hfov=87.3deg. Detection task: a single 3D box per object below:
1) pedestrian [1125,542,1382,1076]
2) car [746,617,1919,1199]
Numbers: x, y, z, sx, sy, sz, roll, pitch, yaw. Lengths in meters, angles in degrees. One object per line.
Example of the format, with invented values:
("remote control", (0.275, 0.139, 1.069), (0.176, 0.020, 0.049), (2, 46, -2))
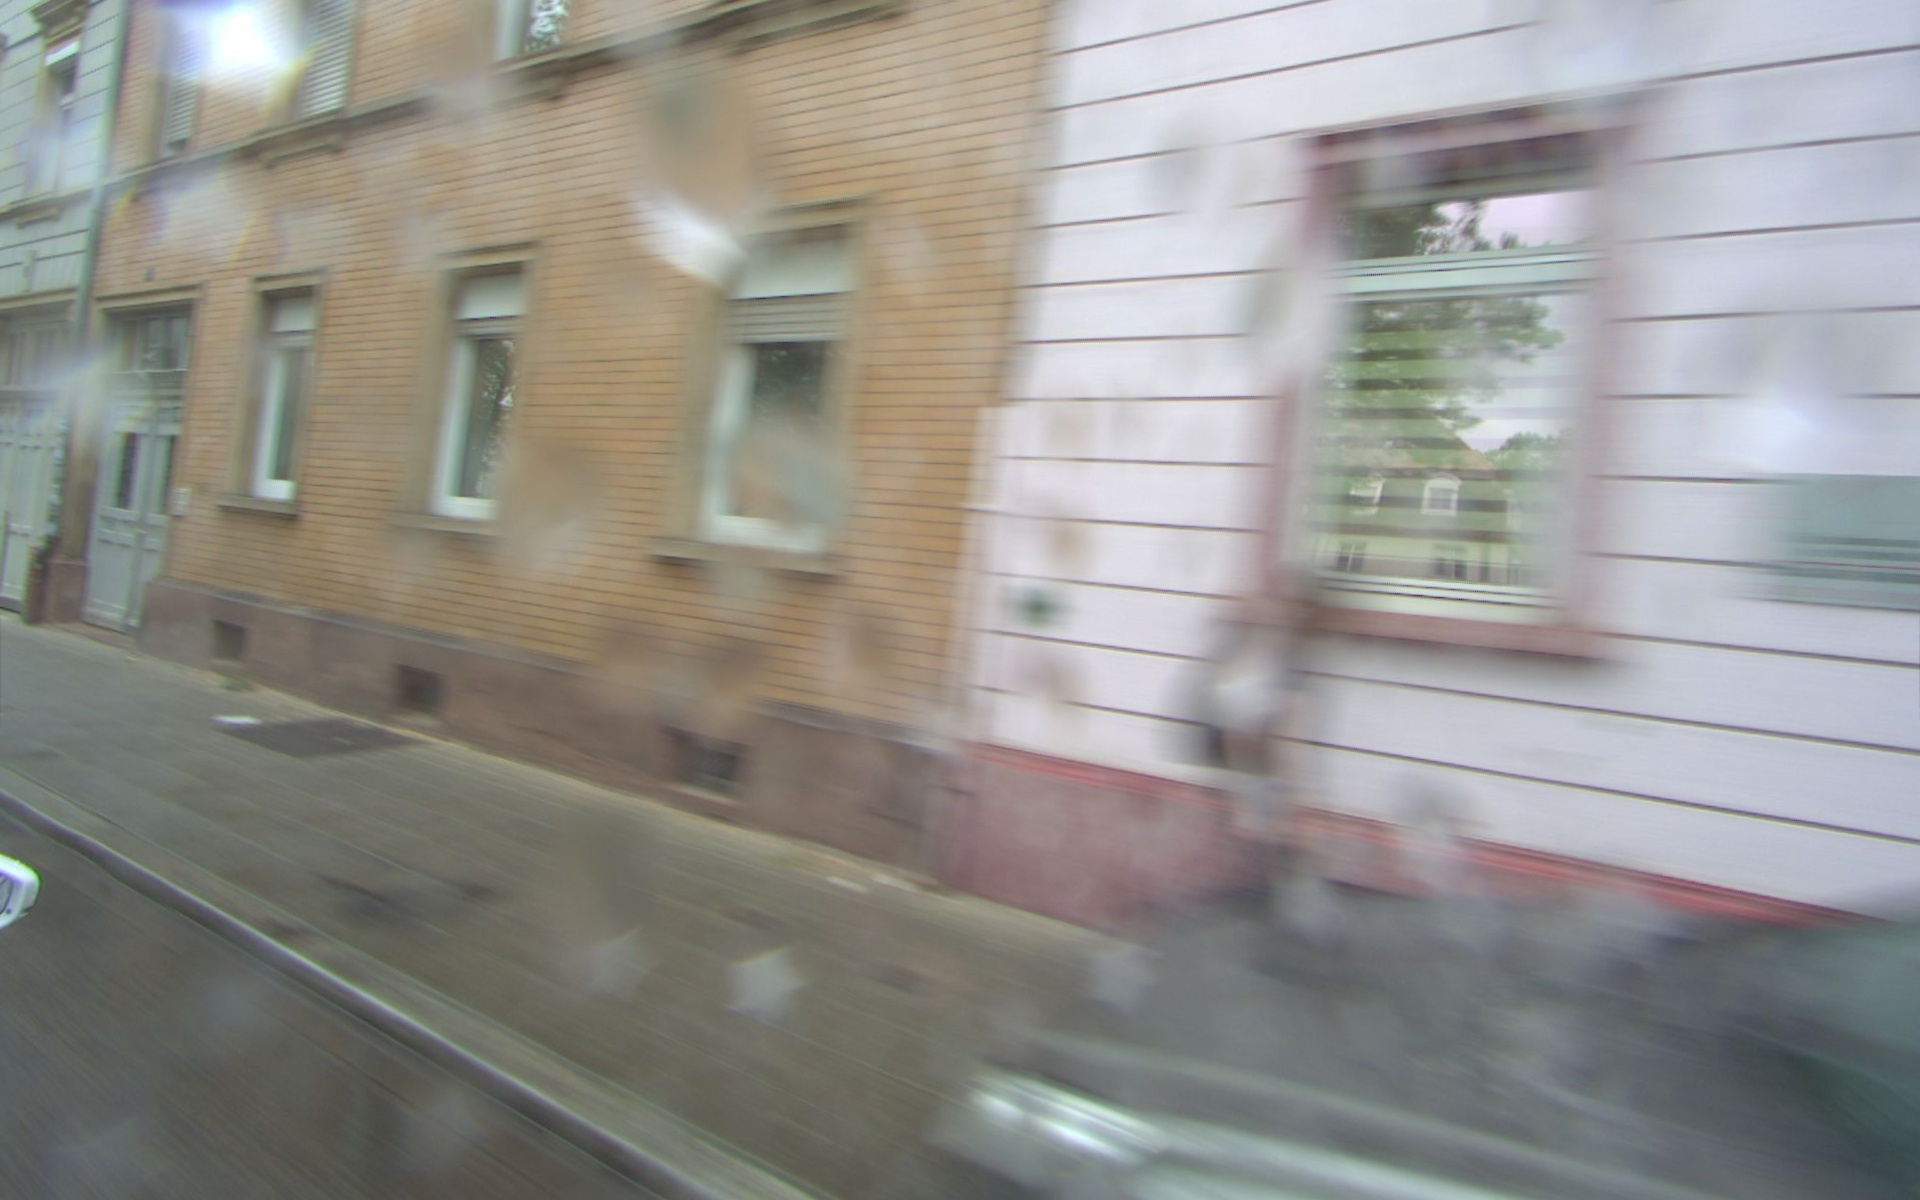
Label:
("pedestrian", (1.087, 0.690, 3.685), (0.593, 1.707, 0.639), (7, 2, 30))
("car", (2.048, 0.998, 1.219), (4.622, 1.439, 1.813), (6, 2, 34))
